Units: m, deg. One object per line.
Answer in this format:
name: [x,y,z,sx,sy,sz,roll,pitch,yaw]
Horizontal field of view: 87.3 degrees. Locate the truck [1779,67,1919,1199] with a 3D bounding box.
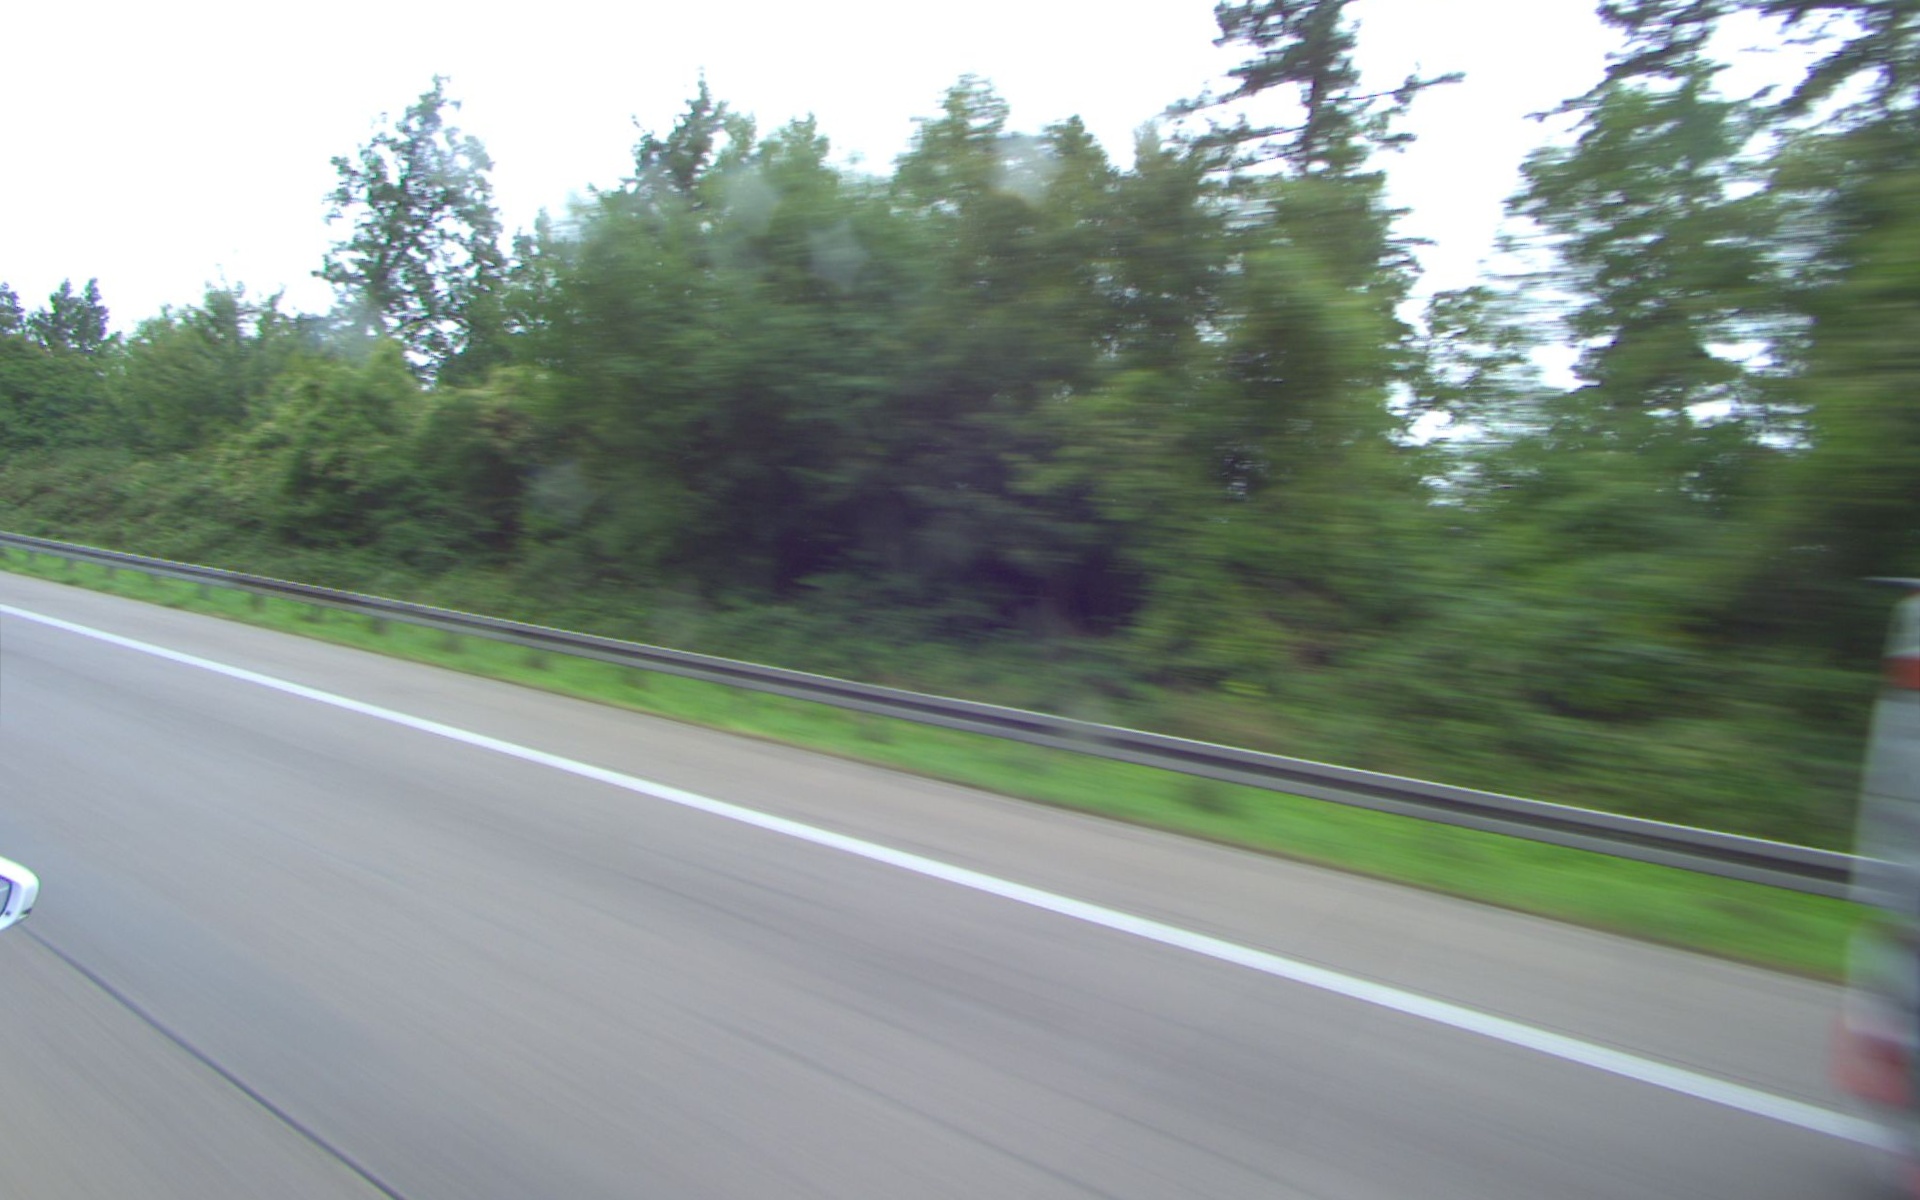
truck: [5.230,0.190,1.100,6.058,3.999,2.380,7,-1,32]
